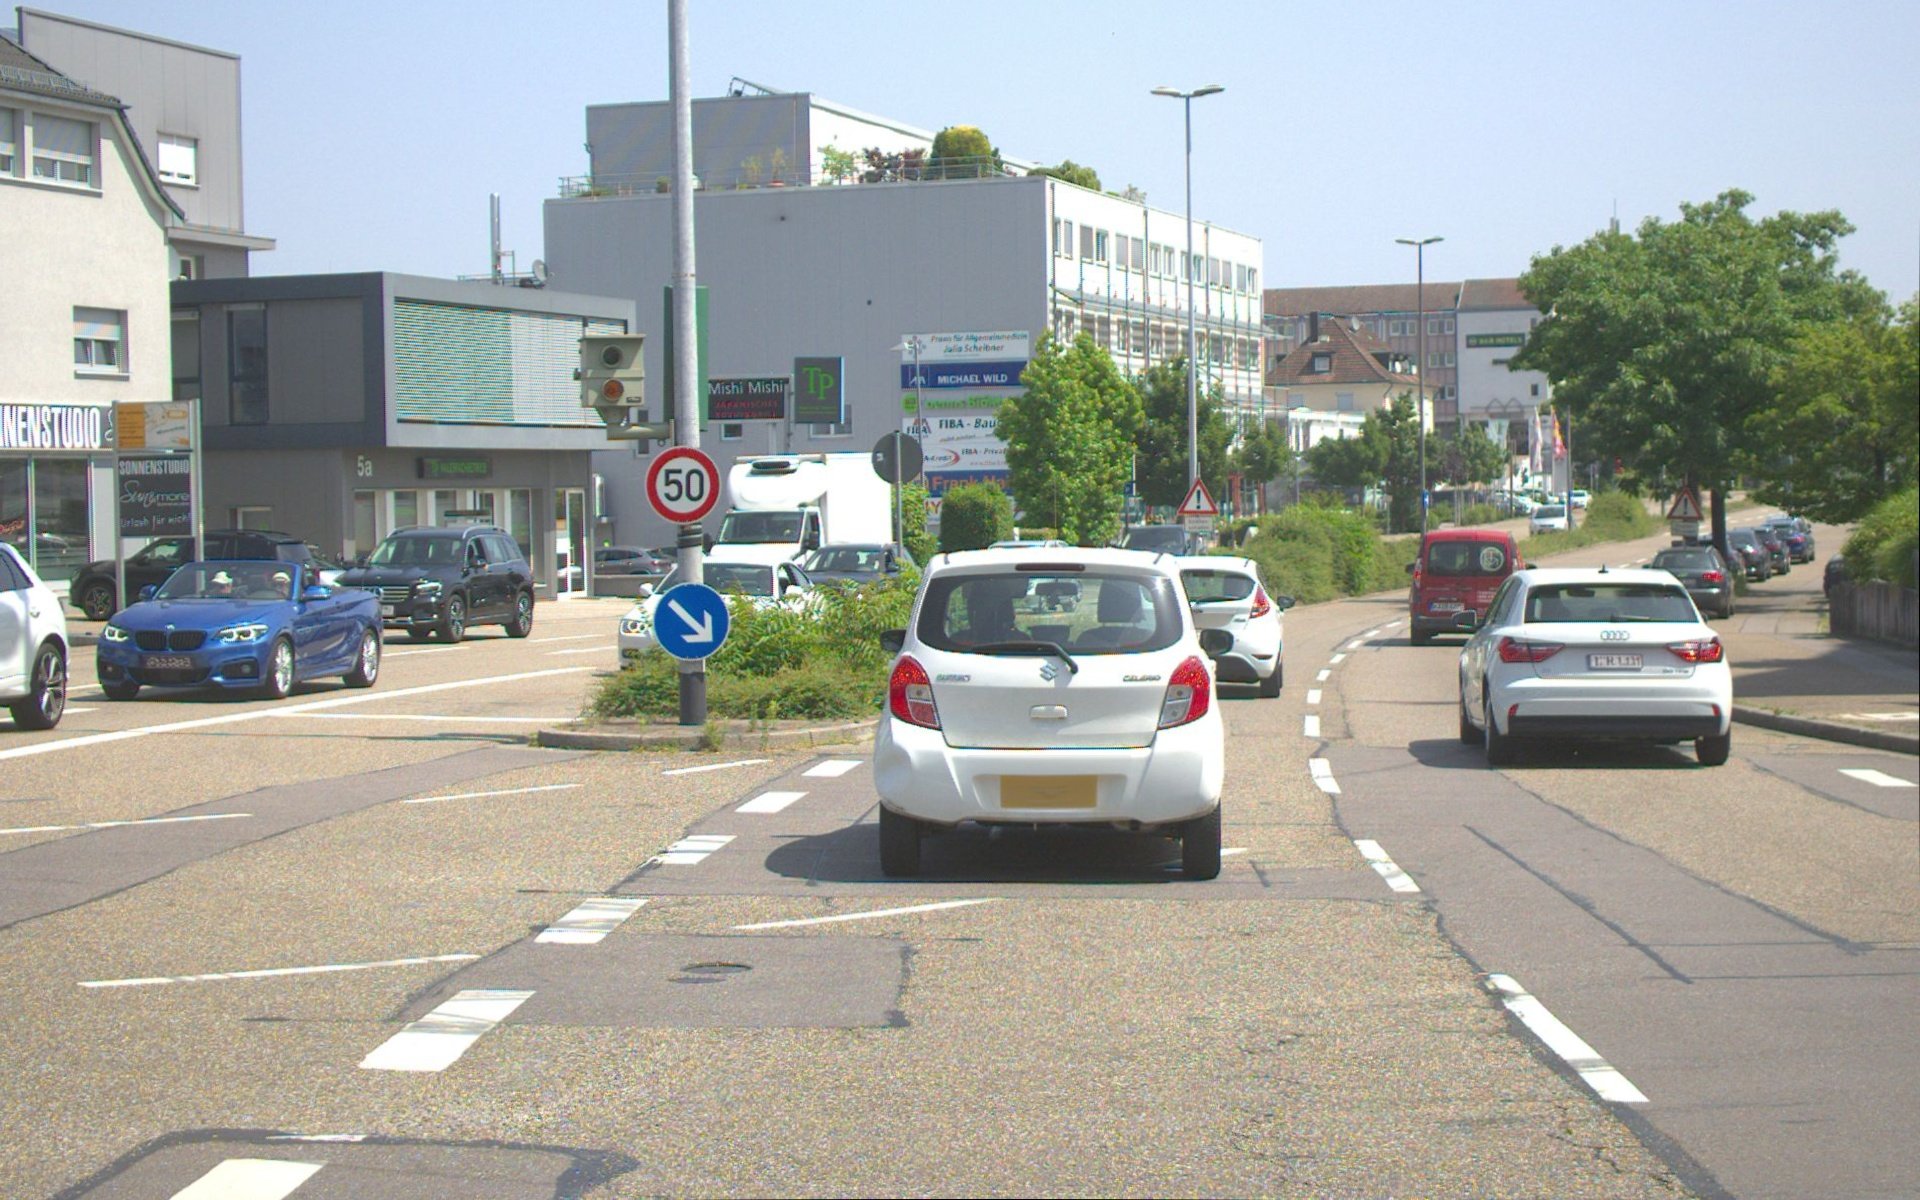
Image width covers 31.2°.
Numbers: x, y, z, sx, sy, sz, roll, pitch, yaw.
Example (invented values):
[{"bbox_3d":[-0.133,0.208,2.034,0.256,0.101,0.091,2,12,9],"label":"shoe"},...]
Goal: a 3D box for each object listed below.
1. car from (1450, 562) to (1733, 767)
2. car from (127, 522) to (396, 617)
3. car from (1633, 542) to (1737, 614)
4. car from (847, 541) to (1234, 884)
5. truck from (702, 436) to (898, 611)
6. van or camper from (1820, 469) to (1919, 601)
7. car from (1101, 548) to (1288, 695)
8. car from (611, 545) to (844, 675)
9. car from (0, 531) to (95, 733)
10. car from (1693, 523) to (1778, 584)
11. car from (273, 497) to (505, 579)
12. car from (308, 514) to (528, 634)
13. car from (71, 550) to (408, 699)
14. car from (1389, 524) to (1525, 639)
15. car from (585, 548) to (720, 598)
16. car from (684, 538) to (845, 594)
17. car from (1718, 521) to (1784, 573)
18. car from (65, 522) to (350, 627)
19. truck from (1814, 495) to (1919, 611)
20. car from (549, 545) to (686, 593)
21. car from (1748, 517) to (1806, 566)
[{"bbox_3d":[4.637,0.426,25.683,1.667,1.394,3.793,0,1,4],"label":"car"},{"bbox_3d":[-13.195,-0.592,65.036,4.607,1.491,1.752,3,2,9],"label":"car"},{"bbox_3d":[14.765,-0.428,69.853,1.799,1.401,4.317,1,0,15],"label":"car"},{"bbox_3d":[0.318,0.495,17.050,1.712,1.505,3.247,1,0,-2],"label":"car"},{"bbox_3d":[-3.194,-1.513,70.549,2.266,3.406,7.035,1,0,12],"label":"truck"},{"bbox_3d":[22.796,-1.508,76.848,6.802,2.888,2.274,-1,2,17],"label":"van or camper"},{"bbox_3d":[2.440,0.189,36.598,1.830,1.445,4.000,1,1,2],"label":"car"},{"bbox_3d":[-2.674,0.070,40.624,1.863,1.426,4.743,1,1,7],"label":"car"},{"bbox_3d":[-8.381,0.240,26.516,1.817,1.565,4.555,1,1,6],"label":"car"},{"bbox_3d":[22.206,-1.348,98.307,1.962,1.525,5.157,-3,1,17],"label":"car"},{"bbox_3d":[-11.301,-1.223,68.185,4.059,1.516,1.999,-1,1,14],"label":"car"},{"bbox_3d":[-7.878,-0.413,50.410,1.994,1.650,4.593,-1,1,7],"label":"car"},{"bbox_3d":[-7.090,0.201,34.285,1.863,1.361,4.345,1,1,9],"label":"car"},{"bbox_3d":[7.801,-0.311,54.216,1.795,1.723,3.972,1,1,4],"label":"car"},{"bbox_3d":[-10.238,-0.913,114.635,3.977,1.462,2.072,-2,1,15],"label":"car"},{"bbox_3d":[-5.201,-0.900,91.606,3.989,1.454,1.574,-1,0,12],"label":"car"},{"bbox_3d":[23.951,-1.612,104.010,1.856,1.476,5.153,0,2,14],"label":"car"},{"bbox_3d":[-13.476,-0.475,61.579,4.609,1.621,1.852,3,2,16],"label":"car"},{"bbox_3d":[21.358,-1.061,72.546,6.251,2.328,2.366,-1,2,18],"label":"truck"},{"bbox_3d":[-11.093,-1.008,111.384,3.973,1.462,1.963,-1,2,12],"label":"car"},{"bbox_3d":[27.328,-1.979,114.936,1.714,1.543,4.788,-1,1,15],"label":"car"}]
